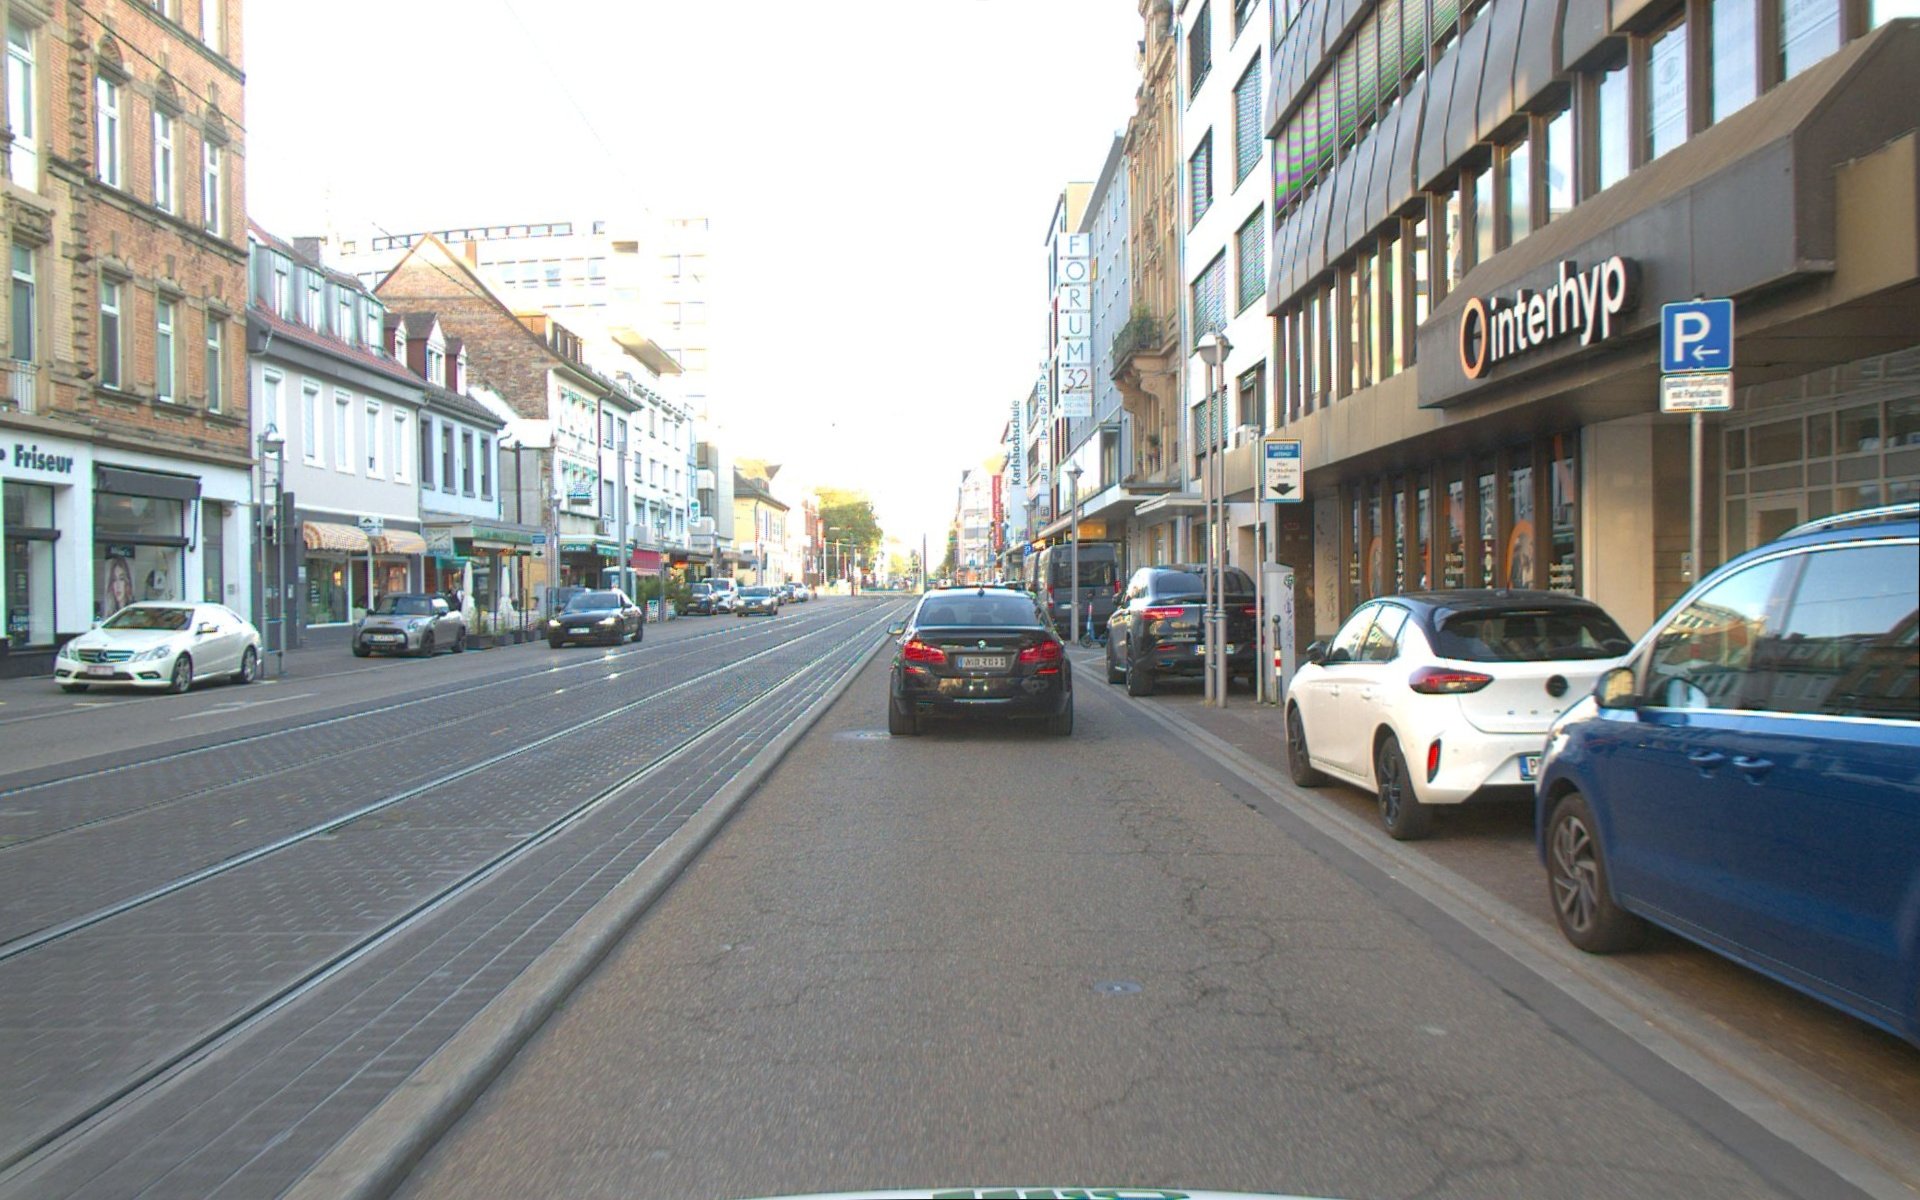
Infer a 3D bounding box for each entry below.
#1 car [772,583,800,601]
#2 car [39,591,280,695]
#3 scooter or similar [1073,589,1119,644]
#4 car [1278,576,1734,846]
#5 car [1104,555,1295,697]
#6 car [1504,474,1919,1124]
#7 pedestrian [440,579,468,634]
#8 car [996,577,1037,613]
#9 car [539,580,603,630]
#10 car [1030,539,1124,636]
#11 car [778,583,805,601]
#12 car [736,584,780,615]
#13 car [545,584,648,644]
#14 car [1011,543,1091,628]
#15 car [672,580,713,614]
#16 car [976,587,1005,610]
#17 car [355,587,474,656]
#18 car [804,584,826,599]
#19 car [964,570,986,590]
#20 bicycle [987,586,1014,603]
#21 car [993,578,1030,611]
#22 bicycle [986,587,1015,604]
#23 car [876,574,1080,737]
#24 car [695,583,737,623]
[{"bbox_3d":[-14.468,-0.708,137.469,1.889,1.460,4.245,-1,1,-1],"label":"car"},{"bbox_3d":[-12.959,0.635,27.132,1.831,1.478,4.608,2,0,-3],"label":"car"},{"bbox_3d":[3.192,0.382,38.693,0.490,1.241,1.260,-1,1,36],"label":"scooter or similar"},{"bbox_3d":[3.436,0.592,11.209,1.759,1.458,3.887,-1,1,-1],"label":"car"},{"bbox_3d":[3.248,0.303,23.345,1.953,1.757,4.565,-1,1,-1],"label":"car"},{"bbox_3d":[3.537,0.493,5.362,1.953,1.757,4.576,-2,1,-1],"label":"car"},{"bbox_3d":[-15.453,0.185,50.532,0.649,1.673,0.694,0,0,0],"label":"pedestrian"},{"bbox_3d":[2.532,-0.239,75.051,1.621,1.564,3.885,-2,1,-1],"label":"car"},{"bbox_3d":[-12.968,0.154,55.252,1.446,1.604,2.794,-1,1,-1],"label":"car"},{"bbox_3d":[3.210,-0.362,46.505,2.050,2.498,6.031,-2,1,-1],"label":"car"},{"bbox_3d":[-14.610,-0.706,143.568,1.889,1.460,4.245,0,1,-1],"label":"car"},{"bbox_3d":[-10.138,-0.054,83.254,1.657,1.478,4.465,-1,1,0],"label":"car"},{"bbox_3d":[-9.710,0.335,44.490,1.954,1.478,4.646,-1,1,-3],"label":"car"},{"bbox_3d":[2.844,-0.468,52.865,1.992,2.498,5.407,-3,1,-2],"label":"car"},{"bbox_3d":[-13.979,-0.179,86.487,1.829,1.714,3.996,0,0,-5],"label":"car"},{"bbox_3d":[2.105,-0.102,113.725,1.864,1.576,3.999,0,0,-1],"label":"car"},{"bbox_3d":[-12.965,0.480,39.507,1.565,1.465,3.813,1,1,0],"label":"car"},{"bbox_3d":[-14.619,-0.891,166.702,1.889,1.460,4.245,0,1,-1],"label":"car"},{"bbox_3d":[1.215,-1.627,135.300,1.738,1.576,3.502,0,0,-1],"label":"car"},{"bbox_3d":[2.704,-0.364,110.179,1.823,1.139,0.468,0,-1,0],"label":"bicycle"},{"bbox_3d":[2.483,-0.288,80.463,1.528,1.467,3.708,-3,1,-1],"label":"car"},{"bbox_3d":[2.536,-0.287,104.372,1.823,1.099,0.468,0,-1,0],"label":"bicycle"},{"bbox_3d":[0.199,0.539,17.808,1.913,1.524,4.465,0,0,1],"label":"car"},{"bbox_3d":[-13.866,0.136,94.400,1.954,2.194,4.907,-1,1,-4],"label":"car"}]
